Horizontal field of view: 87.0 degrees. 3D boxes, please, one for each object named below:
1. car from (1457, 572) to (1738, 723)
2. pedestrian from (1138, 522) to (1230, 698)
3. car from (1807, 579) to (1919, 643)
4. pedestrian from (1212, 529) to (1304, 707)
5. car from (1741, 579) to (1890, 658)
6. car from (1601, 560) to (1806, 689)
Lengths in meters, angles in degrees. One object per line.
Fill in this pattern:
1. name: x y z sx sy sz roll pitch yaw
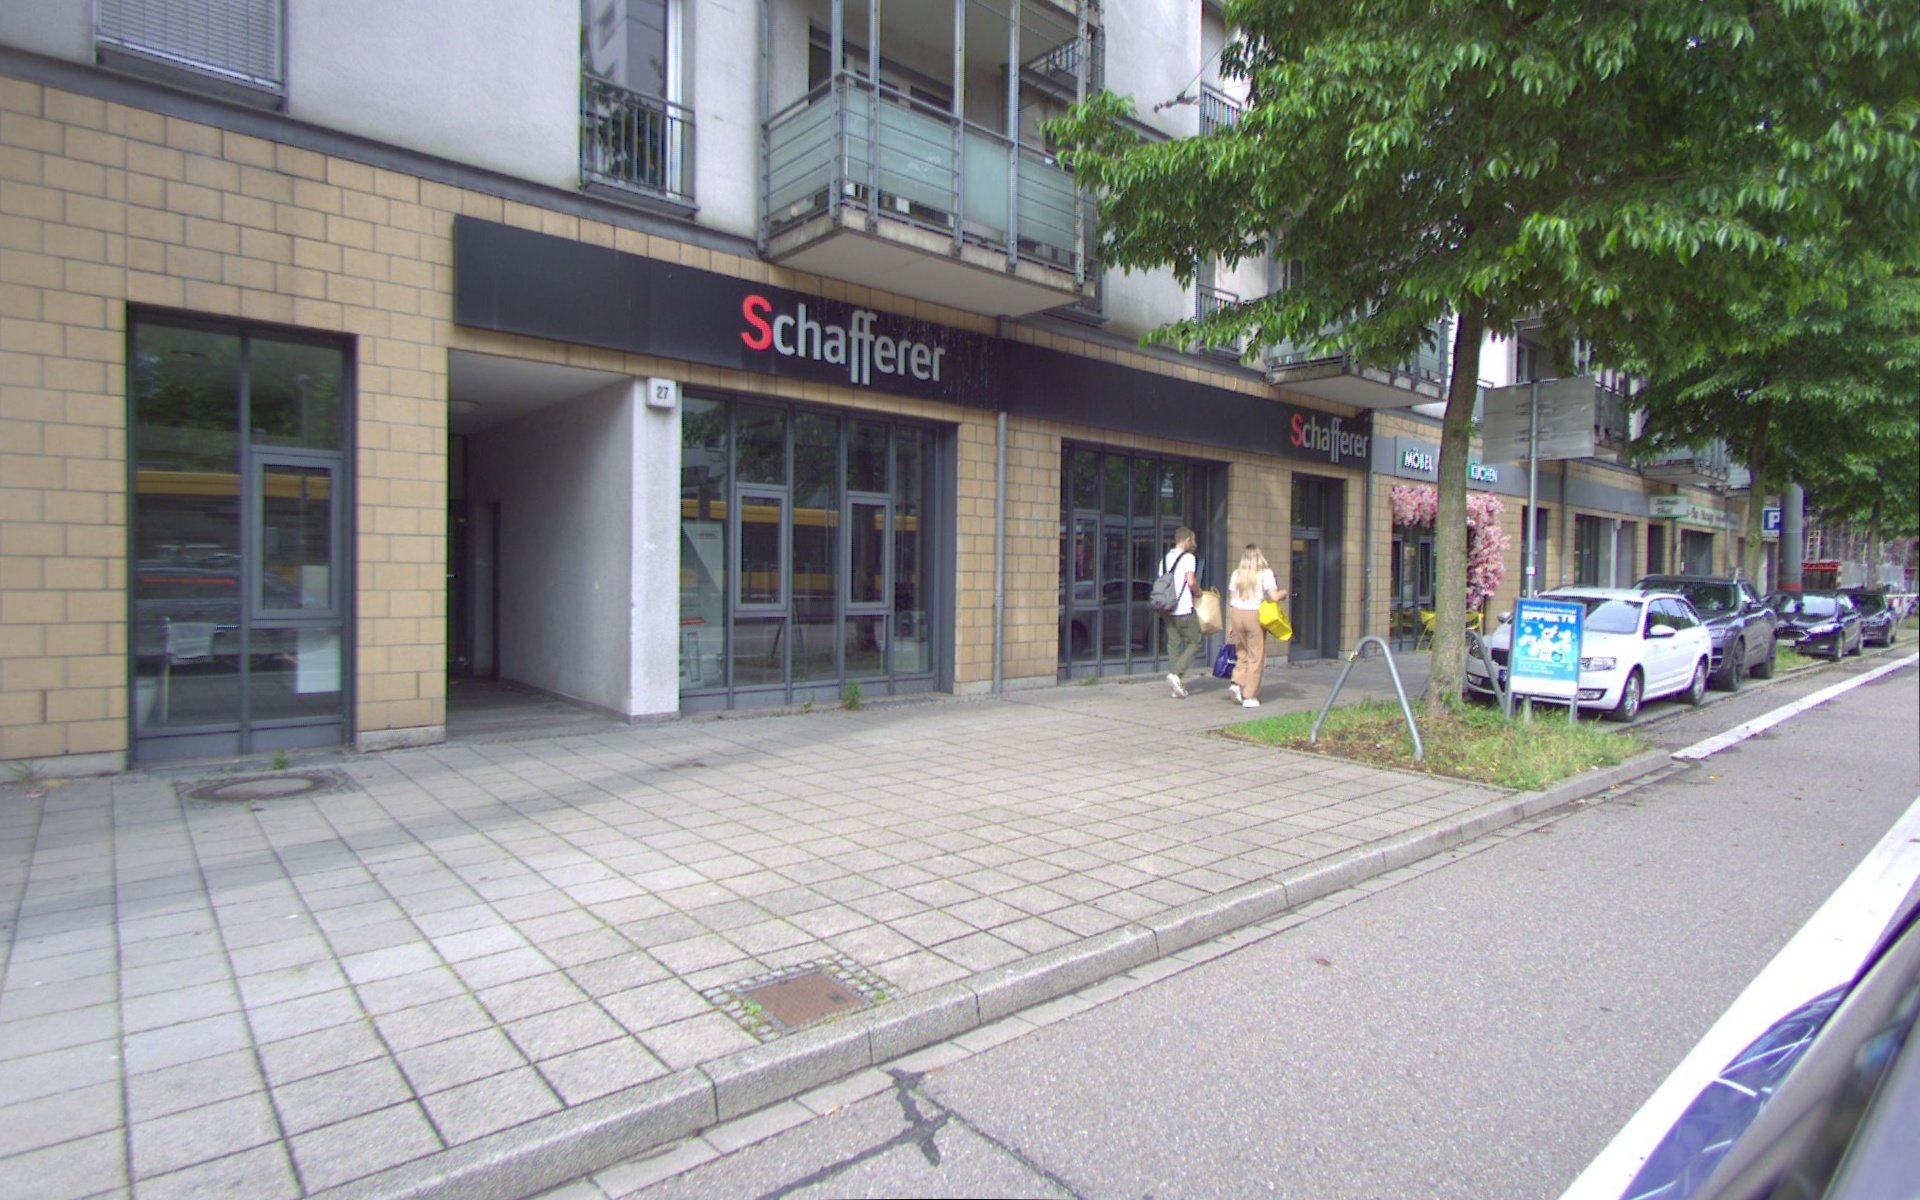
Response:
1. car: 8.126 0.457 12.743 4.312 1.517 1.681 -1 4 -40
2. pedestrian: 2.538 0.092 11.479 0.724 1.914 0.677 0 2 -39
3. car: 24.301 0.222 27.188 4.315 1.472 1.800 -1 5 -43
4. pedestrian: 3.192 0.175 10.850 0.724 1.828 0.617 0 2 -39
5. car: 18.717 0.325 22.084 4.329 1.459 1.681 -1 4 -40
6. car: 12.068 0.284 16.311 4.632 1.737 1.715 -1 4 -42
